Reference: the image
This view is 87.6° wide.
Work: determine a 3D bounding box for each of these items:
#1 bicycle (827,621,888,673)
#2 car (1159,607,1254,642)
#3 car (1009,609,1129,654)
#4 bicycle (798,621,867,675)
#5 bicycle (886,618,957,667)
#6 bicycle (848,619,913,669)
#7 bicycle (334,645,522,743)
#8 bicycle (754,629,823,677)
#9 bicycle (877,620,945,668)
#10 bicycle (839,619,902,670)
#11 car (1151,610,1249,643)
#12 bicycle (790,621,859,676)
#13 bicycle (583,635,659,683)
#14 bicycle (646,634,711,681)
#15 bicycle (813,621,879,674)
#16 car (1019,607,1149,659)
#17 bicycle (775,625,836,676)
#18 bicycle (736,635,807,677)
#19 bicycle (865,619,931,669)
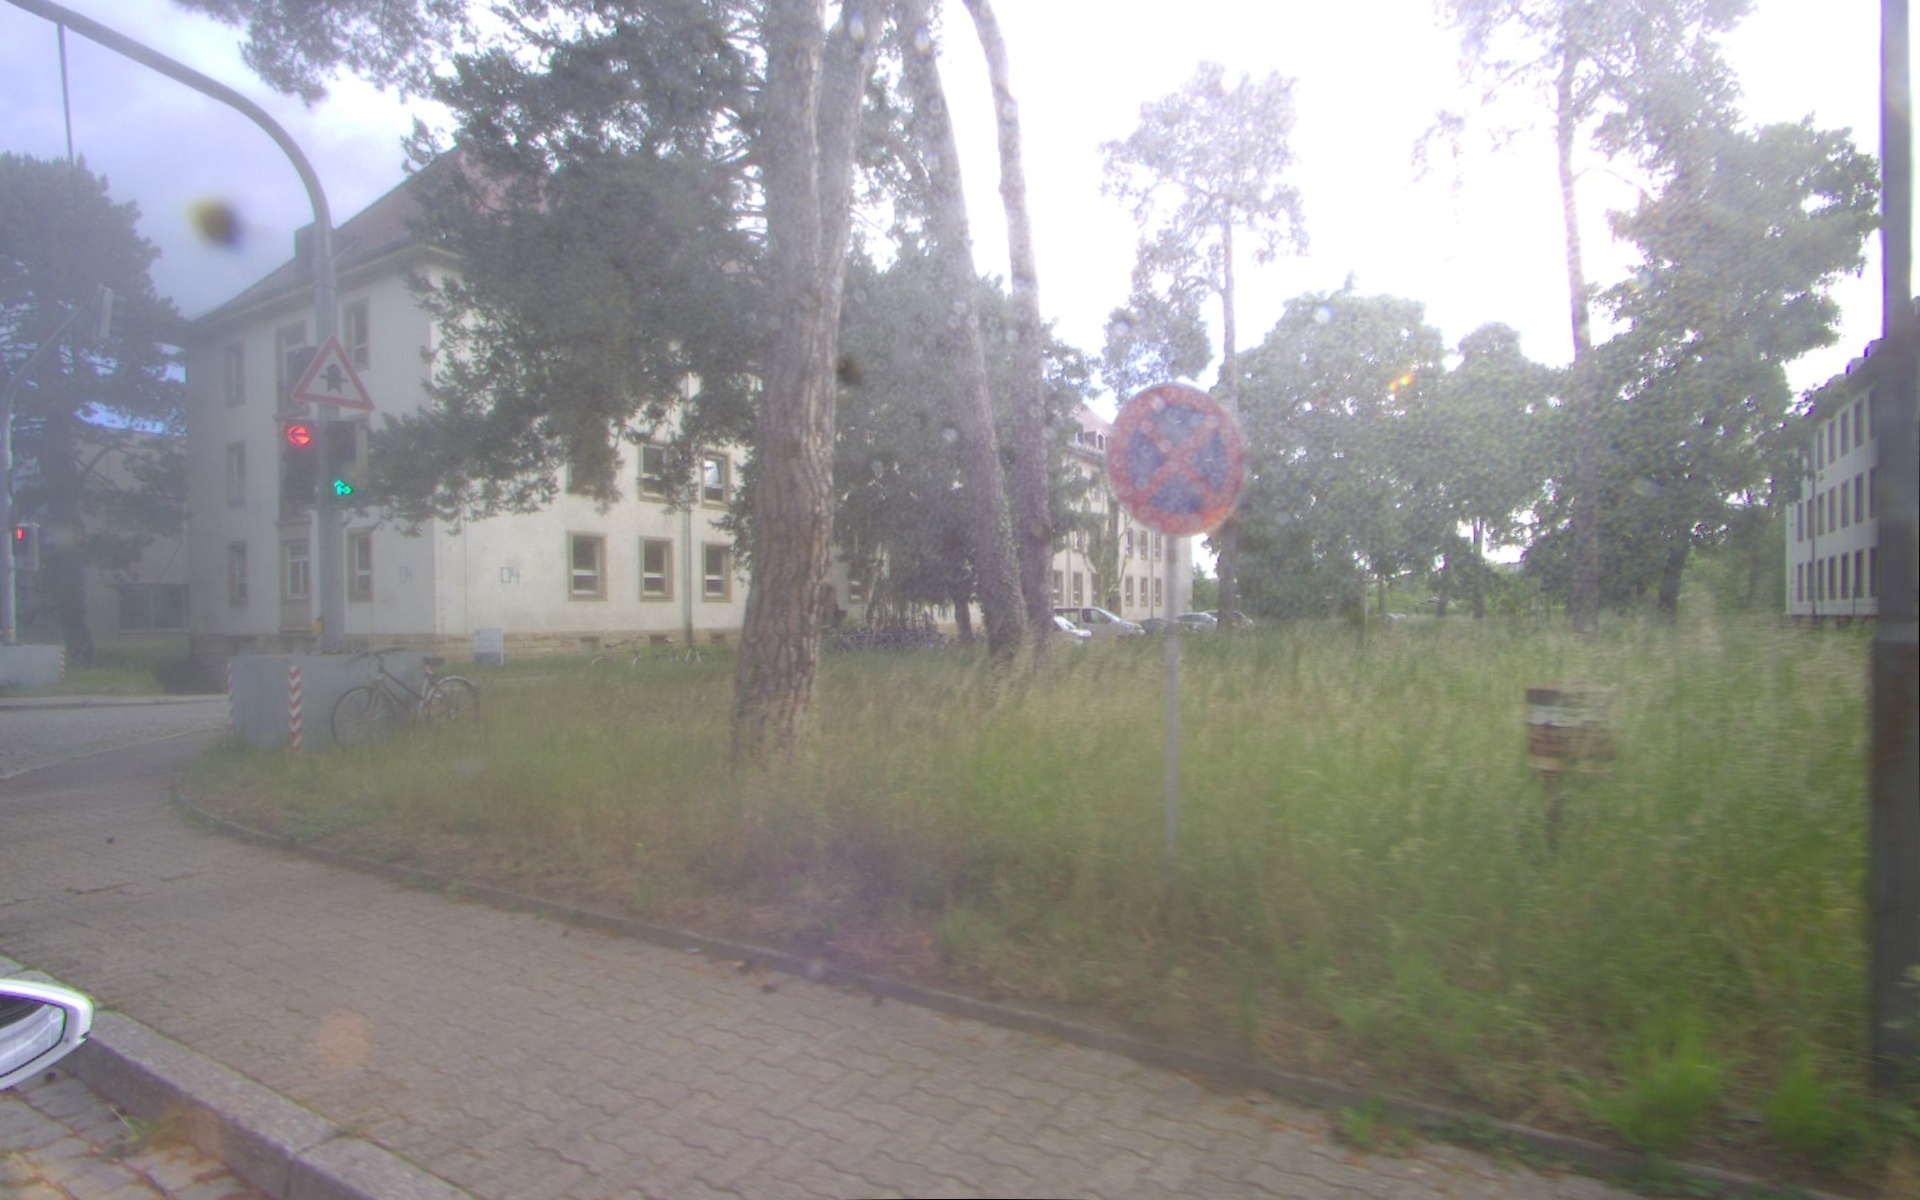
[{"bbox_3d":[-2.752,1.243,26.728,1.894,1.337,0.390,-1,0,38],"label":"bicycle"},{"bbox_3d":[13.292,1.327,54.094,4.630,1.796,1.989,-1,-1,33],"label":"car"},{"bbox_3d":[3.878,1.105,35.901,3.877,1.550,1.852,-1,-1,34],"label":"car"},{"bbox_3d":[-3.306,1.213,25.850,1.950,1.337,0.574,-1,0,38],"label":"bicycle"},{"bbox_3d":[-1.132,1.208,29.228,2.075,1.385,0.754,-1,0,38],"label":"bicycle"},{"bbox_3d":[-2.211,1.197,27.733,1.914,1.337,0.551,-1,0,38],"label":"bicycle"},{"bbox_3d":[-5.542,0.944,10.530,0.564,0.885,1.696,0,-1,32],"label":"bicycle"},{"bbox_3d":[-4.210,1.269,24.470,1.878,1.116,0.539,-1,-1,38],"label":"bicycle"},{"bbox_3d":[-1.407,1.230,28.561,2.105,1.337,0.553,-1,0,38],"label":"bicycle"},{"bbox_3d":[-2.447,1.180,27.162,1.829,1.337,0.553,-1,0,38],"label":"bicycle"},{"bbox_3d":[12.209,1.346,51.001,4.453,1.639,1.989,-1,-1,33],"label":"car"},{"bbox_3d":[-3.445,1.193,25.266,2.022,1.337,0.436,-1,0,38],"label":"bicycle"},{"bbox_3d":[-7.362,1.265,21.798,0.522,0.993,1.618,0,-1,31],"label":"bicycle"},{"bbox_3d":[-6.551,1.328,23.361,0.535,1.027,1.534,0,-1,31],"label":"bicycle"},{"bbox_3d":[-3.013,1.232,26.362,1.895,1.337,0.504,-1,0,38],"label":"bicycle"},{"bbox_3d":[4.905,1.282,39.339,4.775,1.935,2.237,0,0,17],"label":"car"},{"bbox_3d":[-3.845,1.241,24.922,1.618,1.231,0.539,-1,0,38],"label":"bicycle"},{"bbox_3d":[-4.511,1.320,23.889,1.878,0.961,0.539,-1,-1,38],"label":"bicycle"},{"bbox_3d":[-1.763,1.215,28.115,1.990,1.337,0.538,-1,0,38],"label":"bicycle"}]
